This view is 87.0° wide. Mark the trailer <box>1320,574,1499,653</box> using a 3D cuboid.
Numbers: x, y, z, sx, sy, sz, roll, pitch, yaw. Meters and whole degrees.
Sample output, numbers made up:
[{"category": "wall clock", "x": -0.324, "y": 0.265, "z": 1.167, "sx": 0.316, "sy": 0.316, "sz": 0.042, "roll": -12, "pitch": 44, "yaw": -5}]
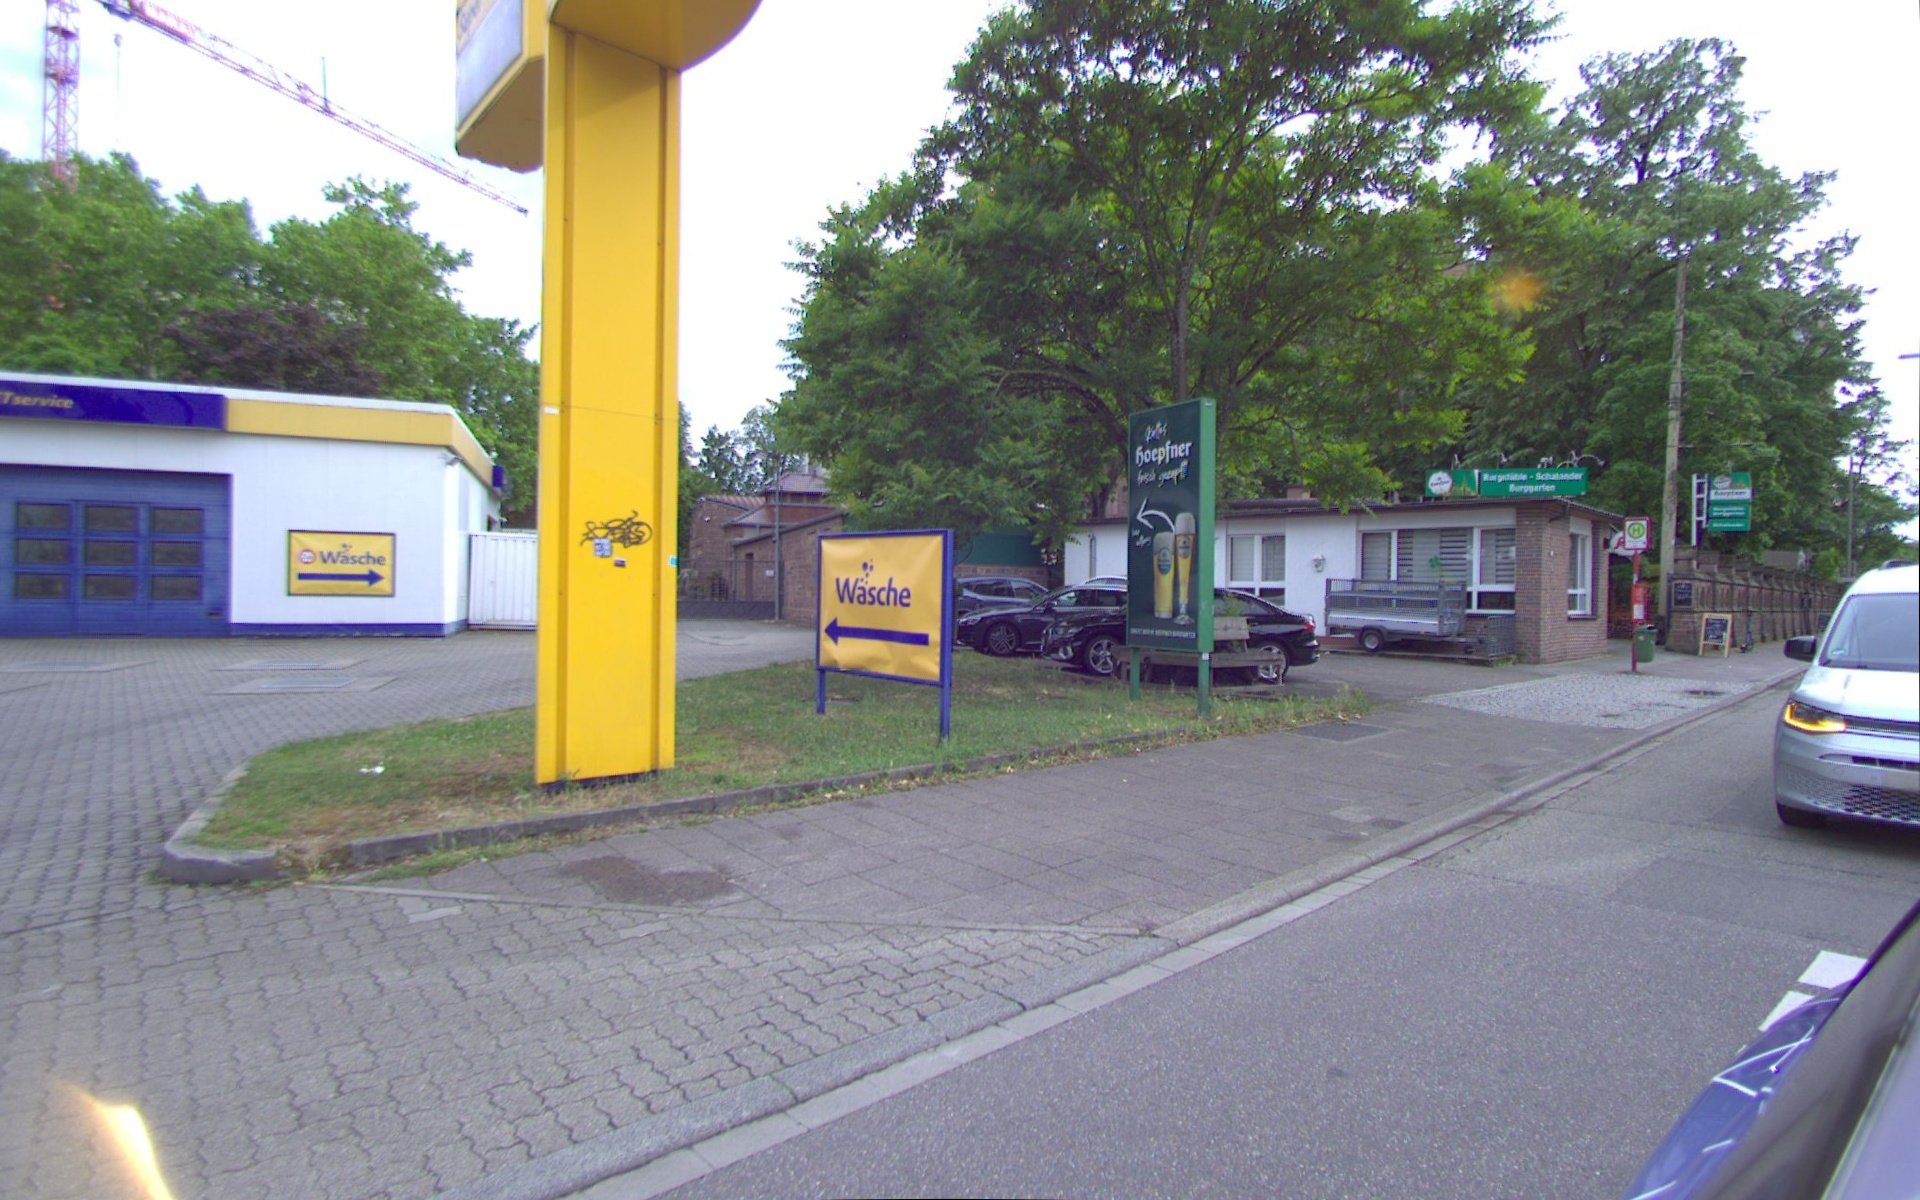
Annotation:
[{"category": "trailer", "x": 9.641, "y": 0.233, "z": 21.831, "sx": 1.594, "sy": 1.558, "sz": 3.165, "roll": 0, "pitch": 1, "yaw": -43}]

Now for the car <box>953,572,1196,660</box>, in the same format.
[{"category": "car", "x": 2.150, "y": 0.270, "z": 19.910, "sx": 4.454, "sy": 1.444, "sz": 1.880, "roll": 2, "pitch": 3, "yaw": -2}]

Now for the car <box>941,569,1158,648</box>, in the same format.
[{"category": "car", "x": 1.892, "y": 0.176, "z": 22.363, "sx": 4.401, "sy": 1.477, "sz": 1.988, "roll": 2, "pitch": 0, "yaw": -5}]

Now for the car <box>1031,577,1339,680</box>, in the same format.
[{"category": "car", "x": 3.502, "y": 0.423, "z": 16.403, "sx": 4.497, "sy": 1.425, "sz": 1.935, "roll": 2, "pitch": 1, "yaw": 0}]

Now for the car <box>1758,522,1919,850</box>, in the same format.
[{"category": "car", "x": 7.322, "y": 0.505, "z": 7.088, "sx": 4.850, "sy": 1.830, "sz": 1.849, "roll": 1, "pitch": 1, "yaw": -41}]

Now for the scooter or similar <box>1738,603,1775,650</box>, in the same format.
[{"category": "scooter or similar", "x": 22.757, "y": 0.747, "z": 28.911, "sx": 1.386, "sy": 1.254, "sz": 0.577, "roll": 0, "pitch": 4, "yaw": -44}]

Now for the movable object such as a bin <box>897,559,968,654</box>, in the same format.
[{"category": "movable object such as a bin", "x": -0.505, "y": 0.120, "z": 17.960, "sx": 1.102, "sy": 1.533, "sz": 1.423, "roll": 5, "pitch": -1, "yaw": -3}]
